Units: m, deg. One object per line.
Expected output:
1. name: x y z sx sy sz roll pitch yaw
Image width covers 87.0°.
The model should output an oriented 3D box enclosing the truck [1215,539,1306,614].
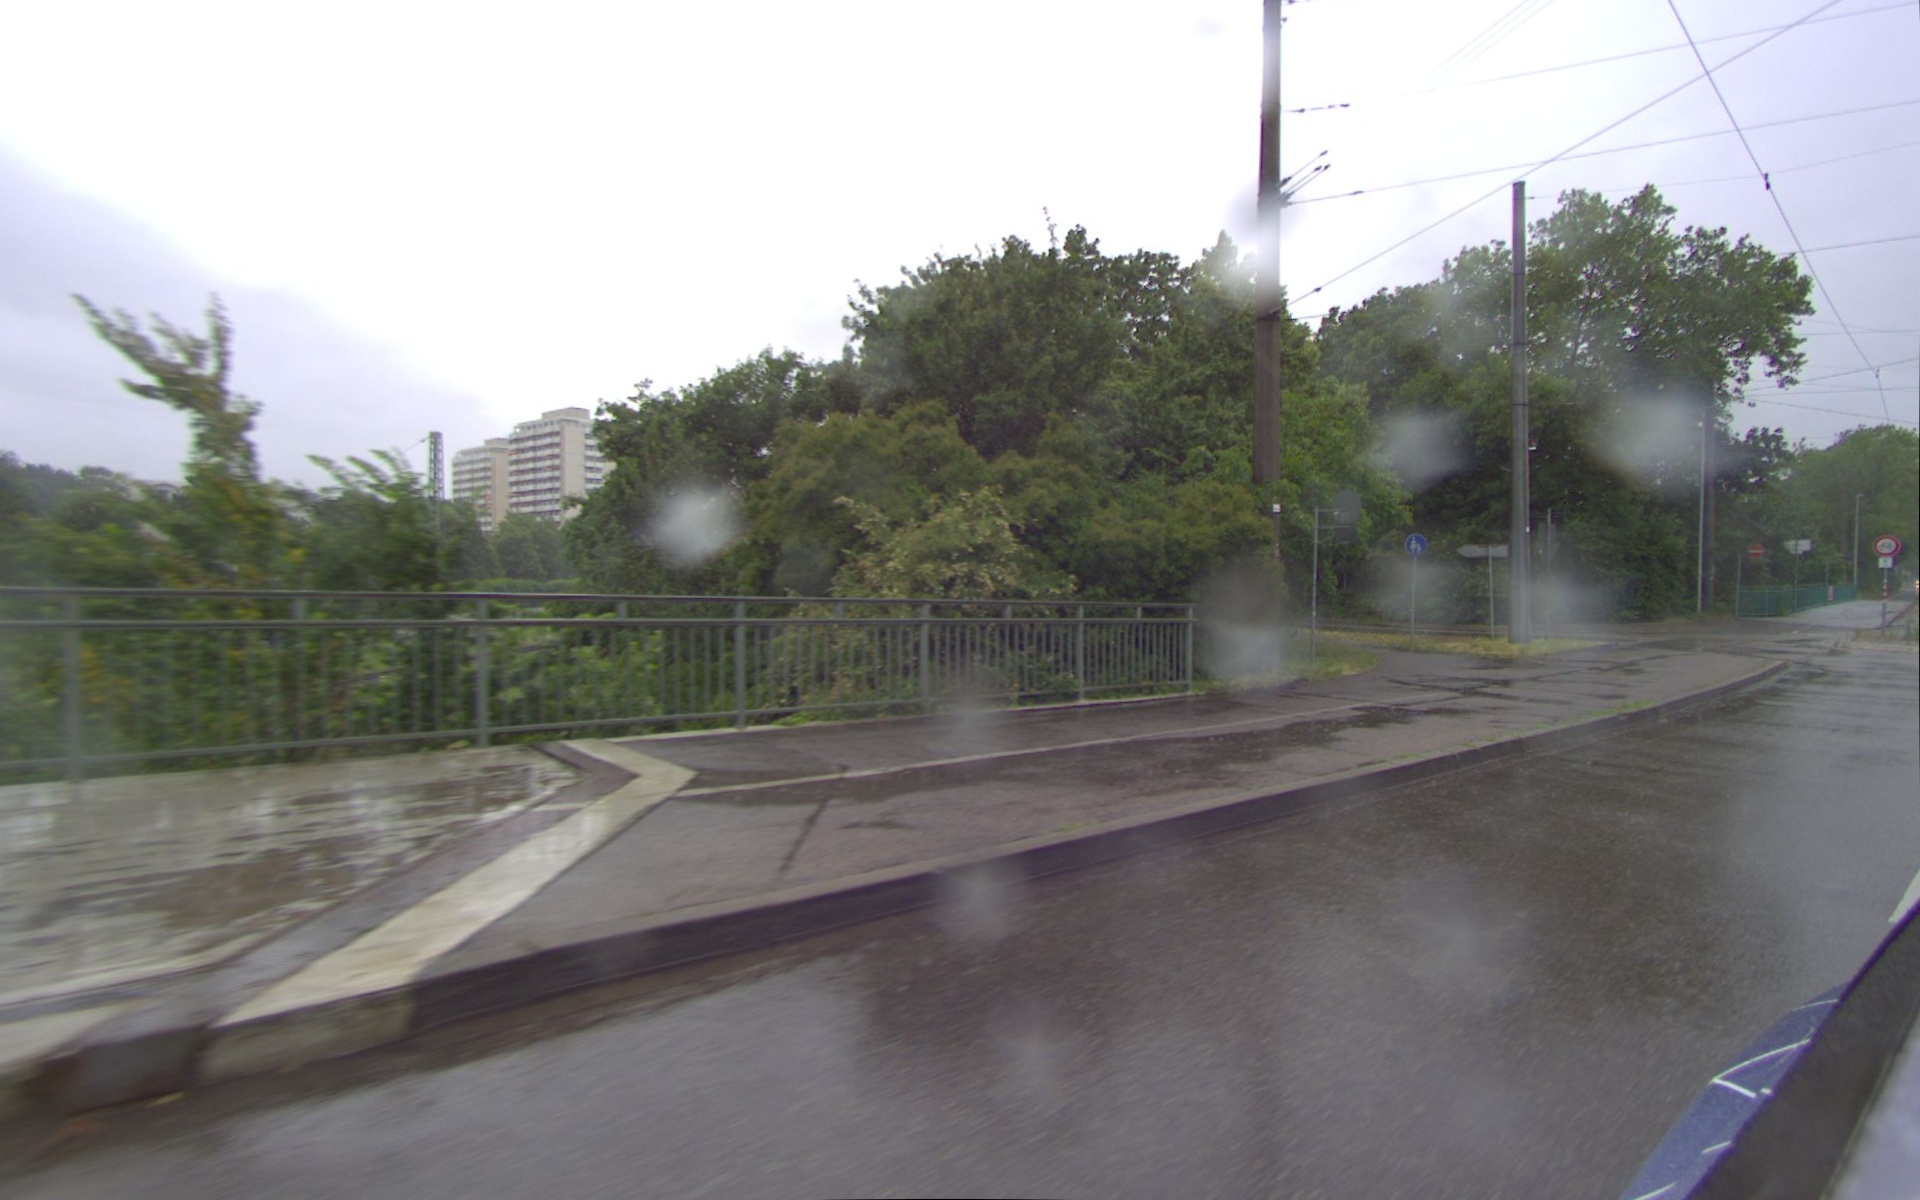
1. truck: 18.621 -1.438 63.379 2.959 4.286 8.376 -1 1 -1
